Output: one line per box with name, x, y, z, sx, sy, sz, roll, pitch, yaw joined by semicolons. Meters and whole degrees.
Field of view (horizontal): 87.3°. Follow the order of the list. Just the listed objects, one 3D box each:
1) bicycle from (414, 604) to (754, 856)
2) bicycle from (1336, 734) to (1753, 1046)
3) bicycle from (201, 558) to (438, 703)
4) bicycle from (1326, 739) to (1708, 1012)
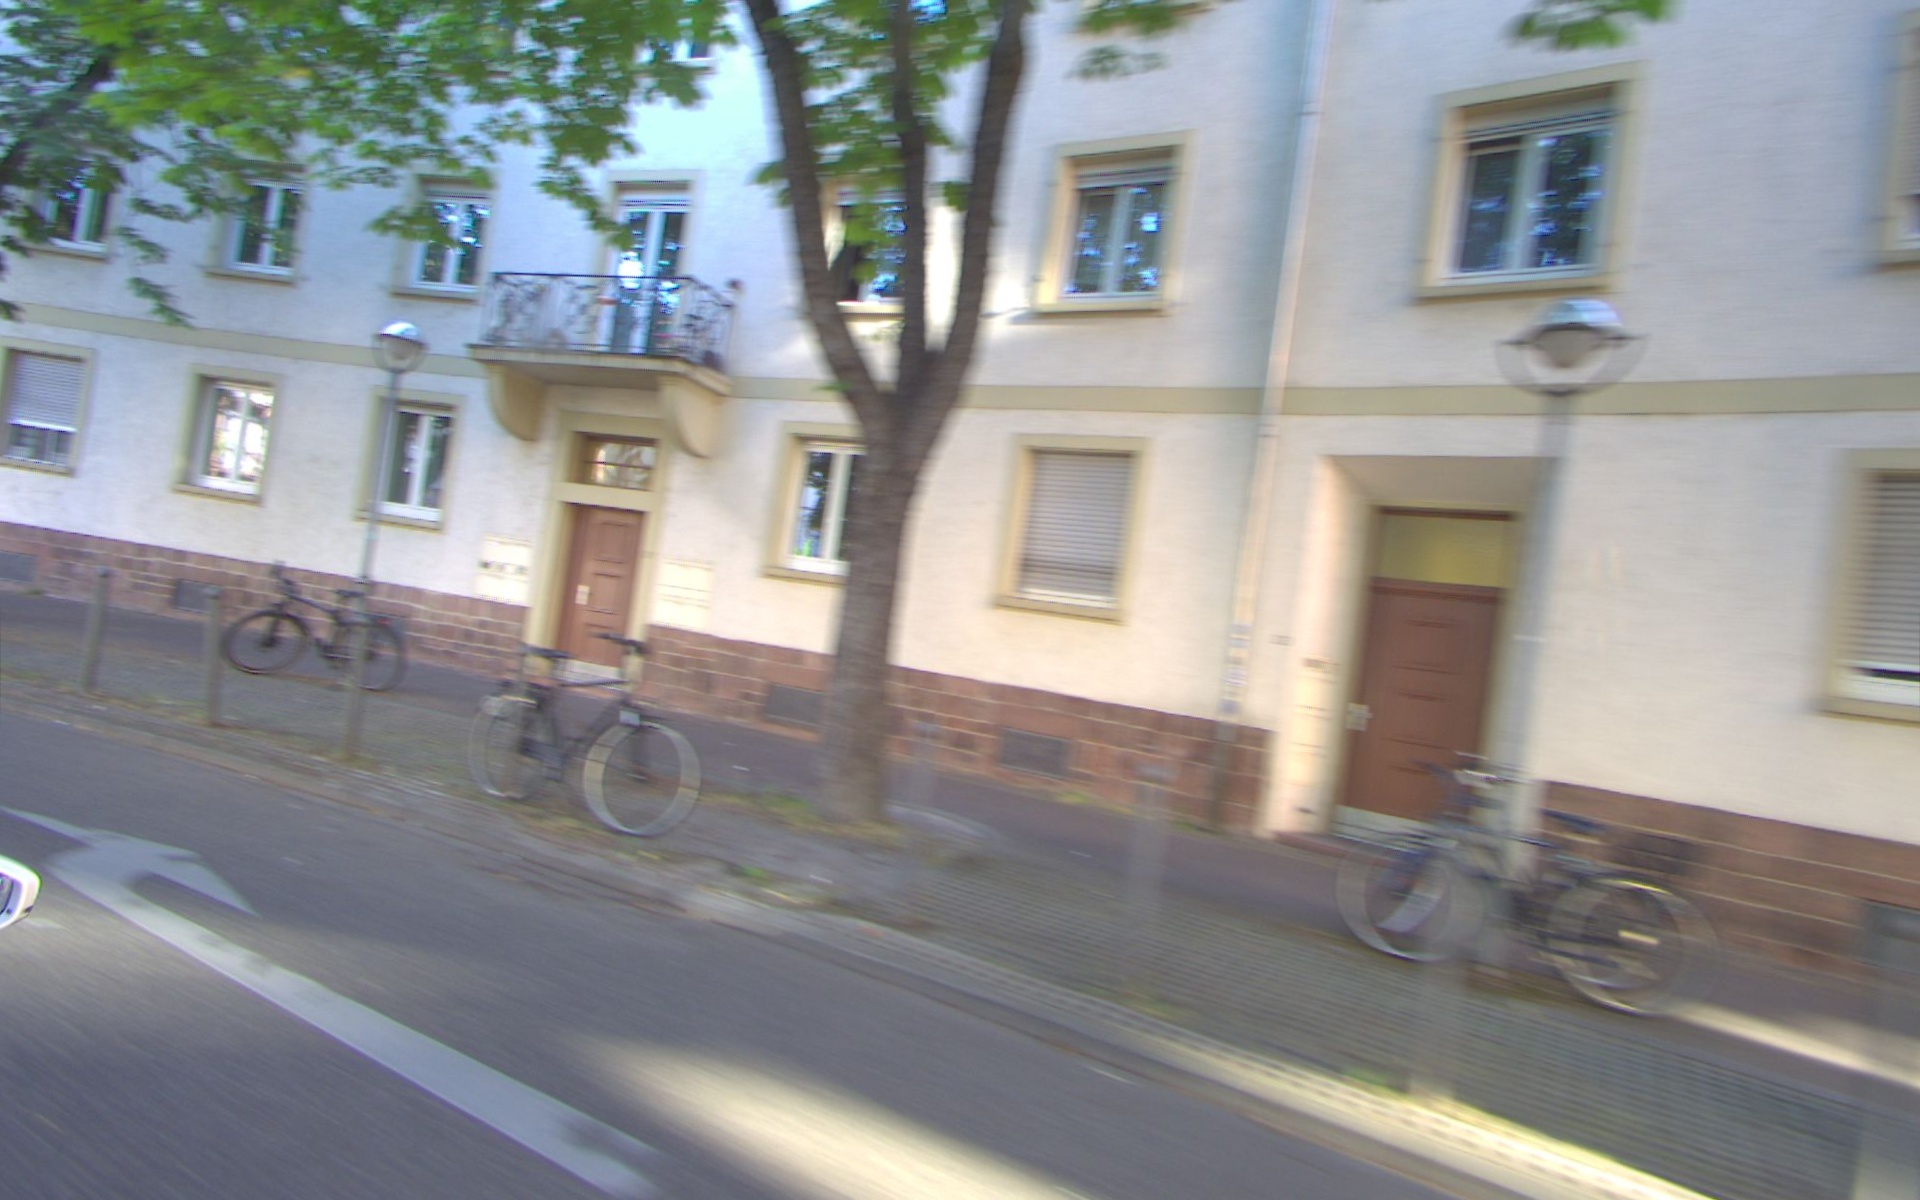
bicycle;-2.362;0.747;6.271;1.965;1.172;0.681;7;-1;25
bicycle;3.033;1.467;5.398;1.753;1.194;0.439;8;-1;24
bicycle;-6.357;0.297;10.055;1.789;1.197;0.673;7;1;-5
bicycle;3.133;1.520;5.821;1.770;1.121;0.392;8;-1;23
